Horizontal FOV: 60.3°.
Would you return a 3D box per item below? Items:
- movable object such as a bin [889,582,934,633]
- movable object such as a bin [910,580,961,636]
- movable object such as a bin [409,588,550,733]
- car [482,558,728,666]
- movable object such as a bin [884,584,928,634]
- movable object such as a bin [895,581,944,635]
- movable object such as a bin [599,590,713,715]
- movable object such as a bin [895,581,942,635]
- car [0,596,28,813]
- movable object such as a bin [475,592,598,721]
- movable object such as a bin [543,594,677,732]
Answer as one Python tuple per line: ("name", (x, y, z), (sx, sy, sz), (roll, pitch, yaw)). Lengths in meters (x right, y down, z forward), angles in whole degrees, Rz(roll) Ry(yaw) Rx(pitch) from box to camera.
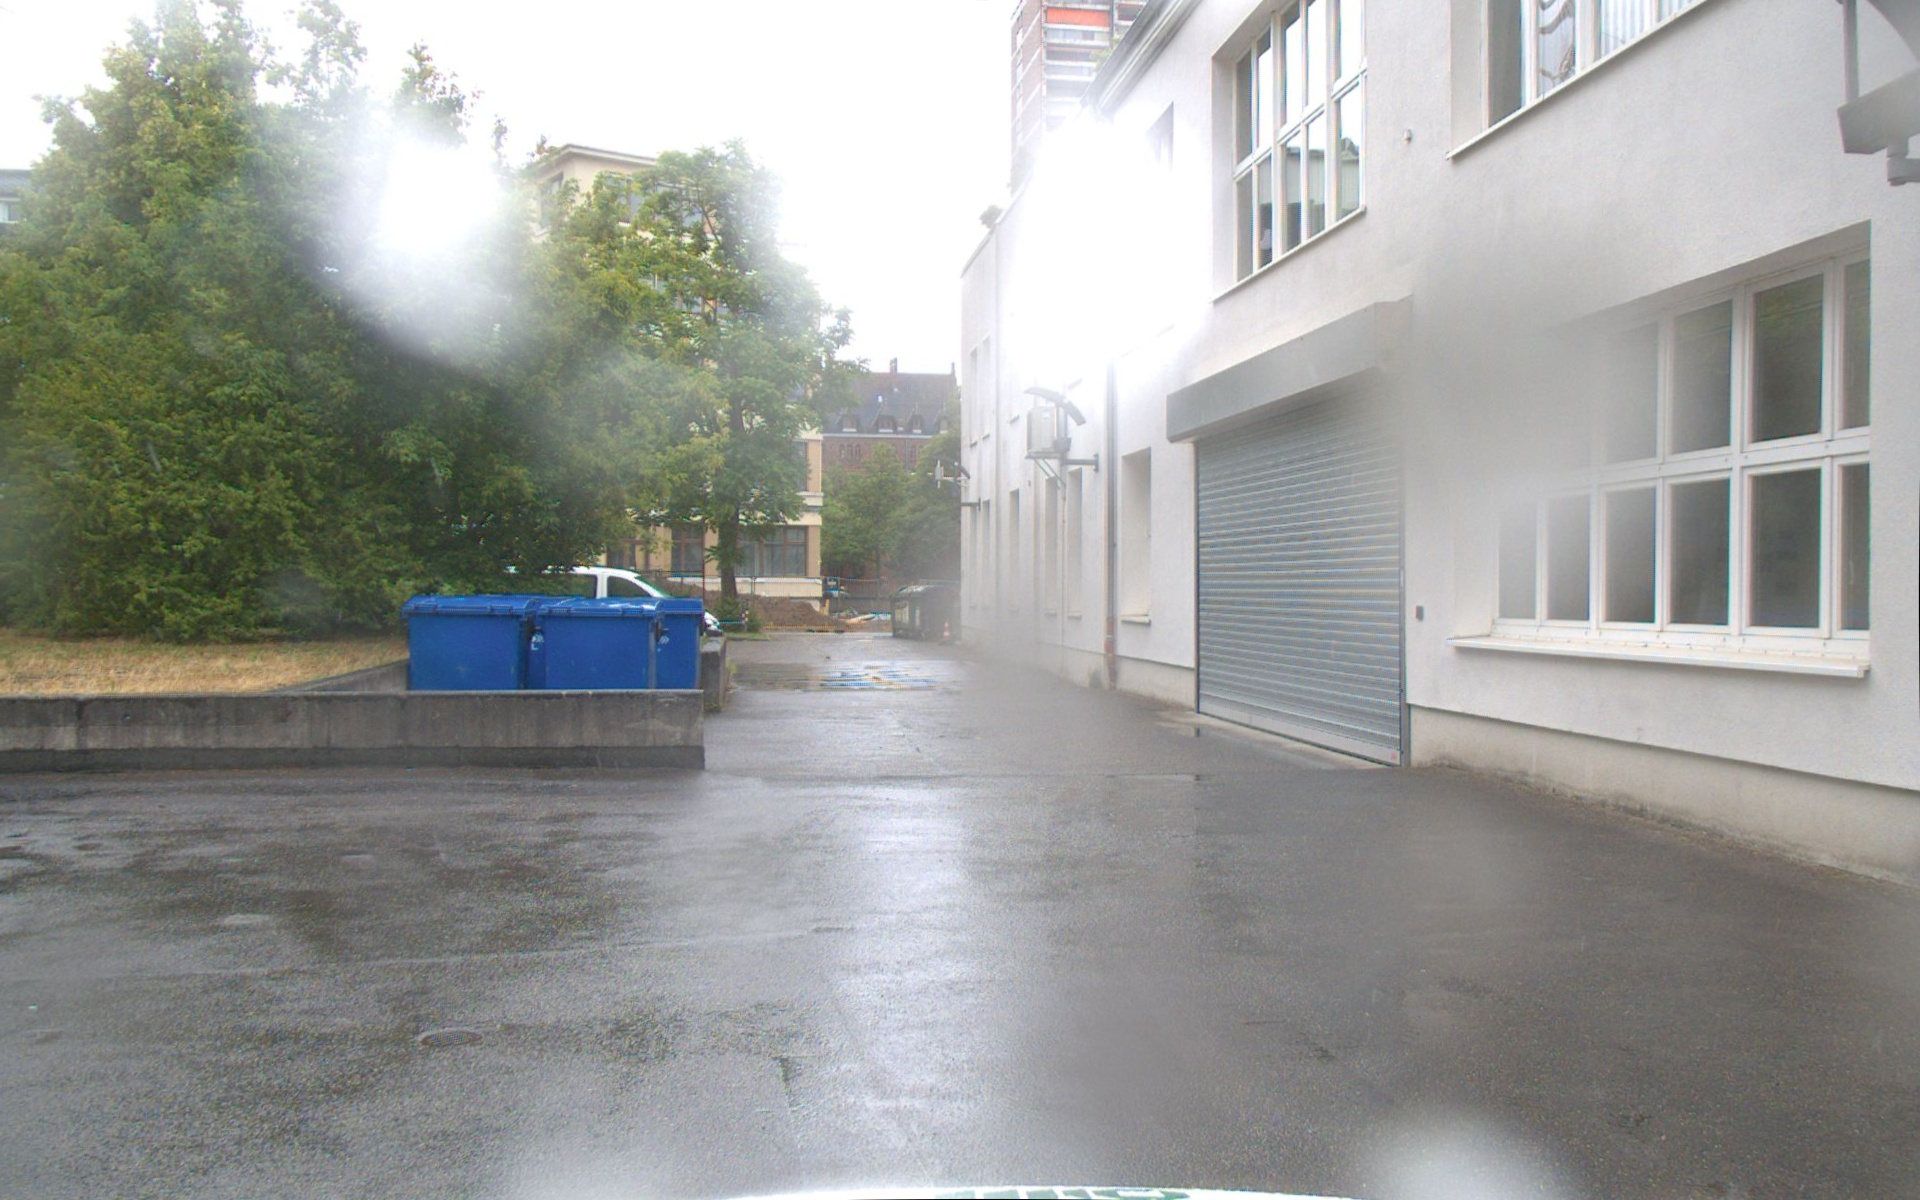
("movable object such as a bin", (-1.439, 0.238, 48.692), (1.192, 1.462, 1.256), (0, -2, -9))
("movable object such as a bin", (-0.660, 0.225, 44.063), (1.192, 1.462, 1.233), (0, -2, -9))
("movable object such as a bin", (-4.858, 0.594, 16.803), (1.180, 1.360, 1.115), (1, 2, -7))
("car", (-7.160, 0.215, 33.803), (4.689, 2.048, 1.997), (-1, 1, -7))
("movable object such as a bin", (-1.639, 0.280, 50.054), (1.192, 1.462, 1.256), (0, -2, -9))
("movable object such as a bin", (-1.124, 0.225, 45.701), (1.192, 1.462, 1.291), (0, -2, -9))
("movable object such as a bin", (-3.432, 0.576, 18.772), (1.198, 1.360, 1.005), (0, 1, -7))
("movable object such as a bin", (-1.202, 0.232, 47.338), (1.192, 1.494, 1.233), (0, -2, -9))
("car", (-7.946, 0.603, 9.505), (4.091, 1.356, 1.817), (2, 1, -12))
("movable object such as a bin", (-4.706, 0.609, 18.479), (1.198, 1.360, 1.005), (0, 1, -7))
("movable object such as a bin", (-3.574, 0.621, 17.002), (1.179, 1.360, 1.116), (0, 0, -3))
